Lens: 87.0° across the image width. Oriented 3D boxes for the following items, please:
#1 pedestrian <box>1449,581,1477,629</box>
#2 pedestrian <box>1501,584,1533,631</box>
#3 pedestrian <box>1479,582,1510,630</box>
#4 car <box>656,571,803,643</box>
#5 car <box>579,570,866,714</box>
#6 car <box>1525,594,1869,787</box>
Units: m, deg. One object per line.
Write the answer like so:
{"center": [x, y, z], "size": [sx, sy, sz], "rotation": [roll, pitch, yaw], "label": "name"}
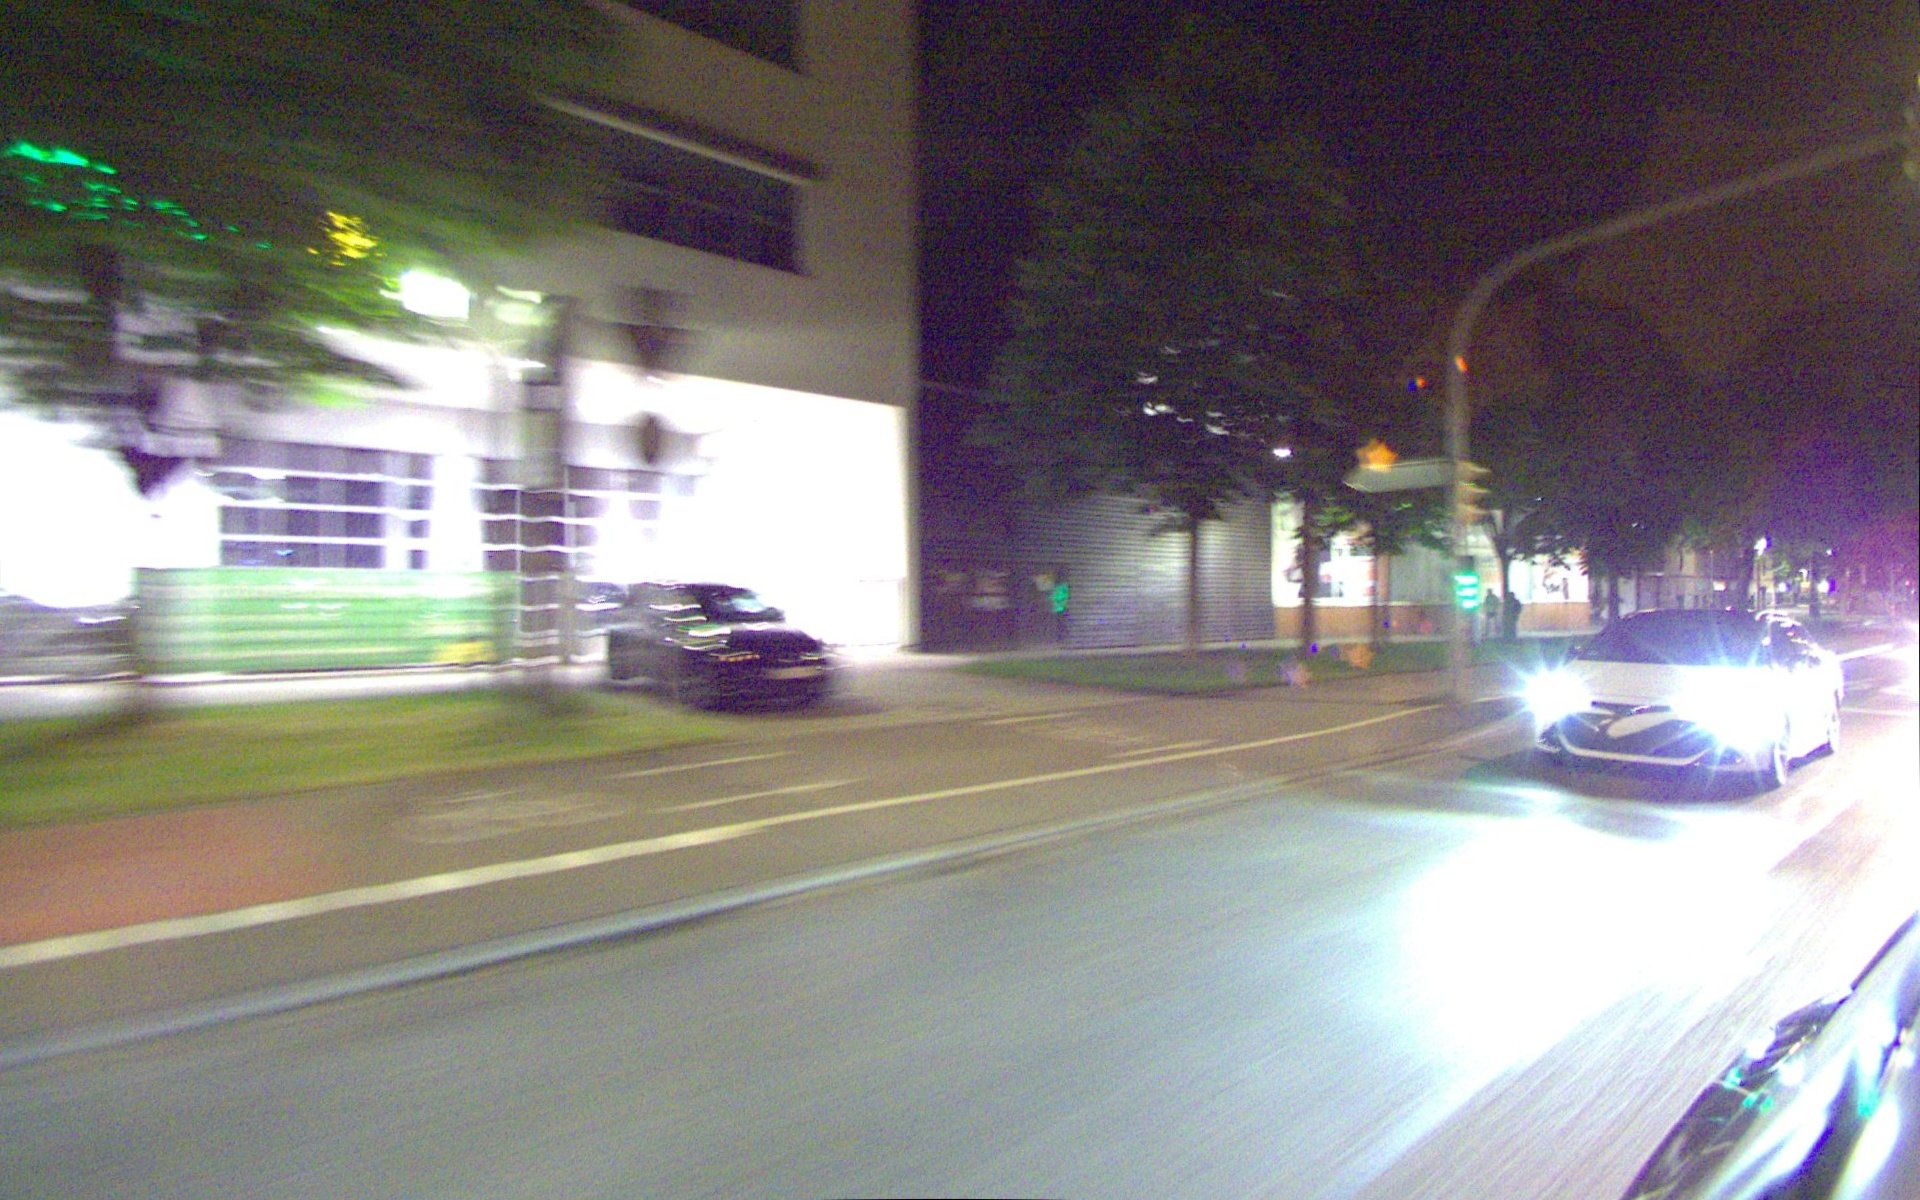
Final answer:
{"center": [19.504, 0.193, 39.219], "size": [0.890, 1.839, 0.675], "rotation": [0, 0, -41], "label": "pedestrian"}
{"center": [20.787, 0.278, 37.759], "size": [0.968, 1.738, 0.736], "rotation": [0, 0, -41], "label": "pedestrian"}
{"center": [20.329, 0.217, 38.466], "size": [0.953, 1.811, 0.720], "rotation": [0, 0, -41], "label": "pedestrian"}
{"center": [-5.599, 0.129, 24.322], "size": [1.687, 1.585, 3.954], "rotation": [-1, 1, -44], "label": "car"}
{"center": [-3.070, 0.379, 12.488], "size": [1.756, 1.472, 4.088], "rotation": [0, 1, -41], "label": "car"}
{"center": [7.209, 0.683, 9.716], "size": [4.419, 1.448, 1.727], "rotation": [0, -1, -41], "label": "car"}
